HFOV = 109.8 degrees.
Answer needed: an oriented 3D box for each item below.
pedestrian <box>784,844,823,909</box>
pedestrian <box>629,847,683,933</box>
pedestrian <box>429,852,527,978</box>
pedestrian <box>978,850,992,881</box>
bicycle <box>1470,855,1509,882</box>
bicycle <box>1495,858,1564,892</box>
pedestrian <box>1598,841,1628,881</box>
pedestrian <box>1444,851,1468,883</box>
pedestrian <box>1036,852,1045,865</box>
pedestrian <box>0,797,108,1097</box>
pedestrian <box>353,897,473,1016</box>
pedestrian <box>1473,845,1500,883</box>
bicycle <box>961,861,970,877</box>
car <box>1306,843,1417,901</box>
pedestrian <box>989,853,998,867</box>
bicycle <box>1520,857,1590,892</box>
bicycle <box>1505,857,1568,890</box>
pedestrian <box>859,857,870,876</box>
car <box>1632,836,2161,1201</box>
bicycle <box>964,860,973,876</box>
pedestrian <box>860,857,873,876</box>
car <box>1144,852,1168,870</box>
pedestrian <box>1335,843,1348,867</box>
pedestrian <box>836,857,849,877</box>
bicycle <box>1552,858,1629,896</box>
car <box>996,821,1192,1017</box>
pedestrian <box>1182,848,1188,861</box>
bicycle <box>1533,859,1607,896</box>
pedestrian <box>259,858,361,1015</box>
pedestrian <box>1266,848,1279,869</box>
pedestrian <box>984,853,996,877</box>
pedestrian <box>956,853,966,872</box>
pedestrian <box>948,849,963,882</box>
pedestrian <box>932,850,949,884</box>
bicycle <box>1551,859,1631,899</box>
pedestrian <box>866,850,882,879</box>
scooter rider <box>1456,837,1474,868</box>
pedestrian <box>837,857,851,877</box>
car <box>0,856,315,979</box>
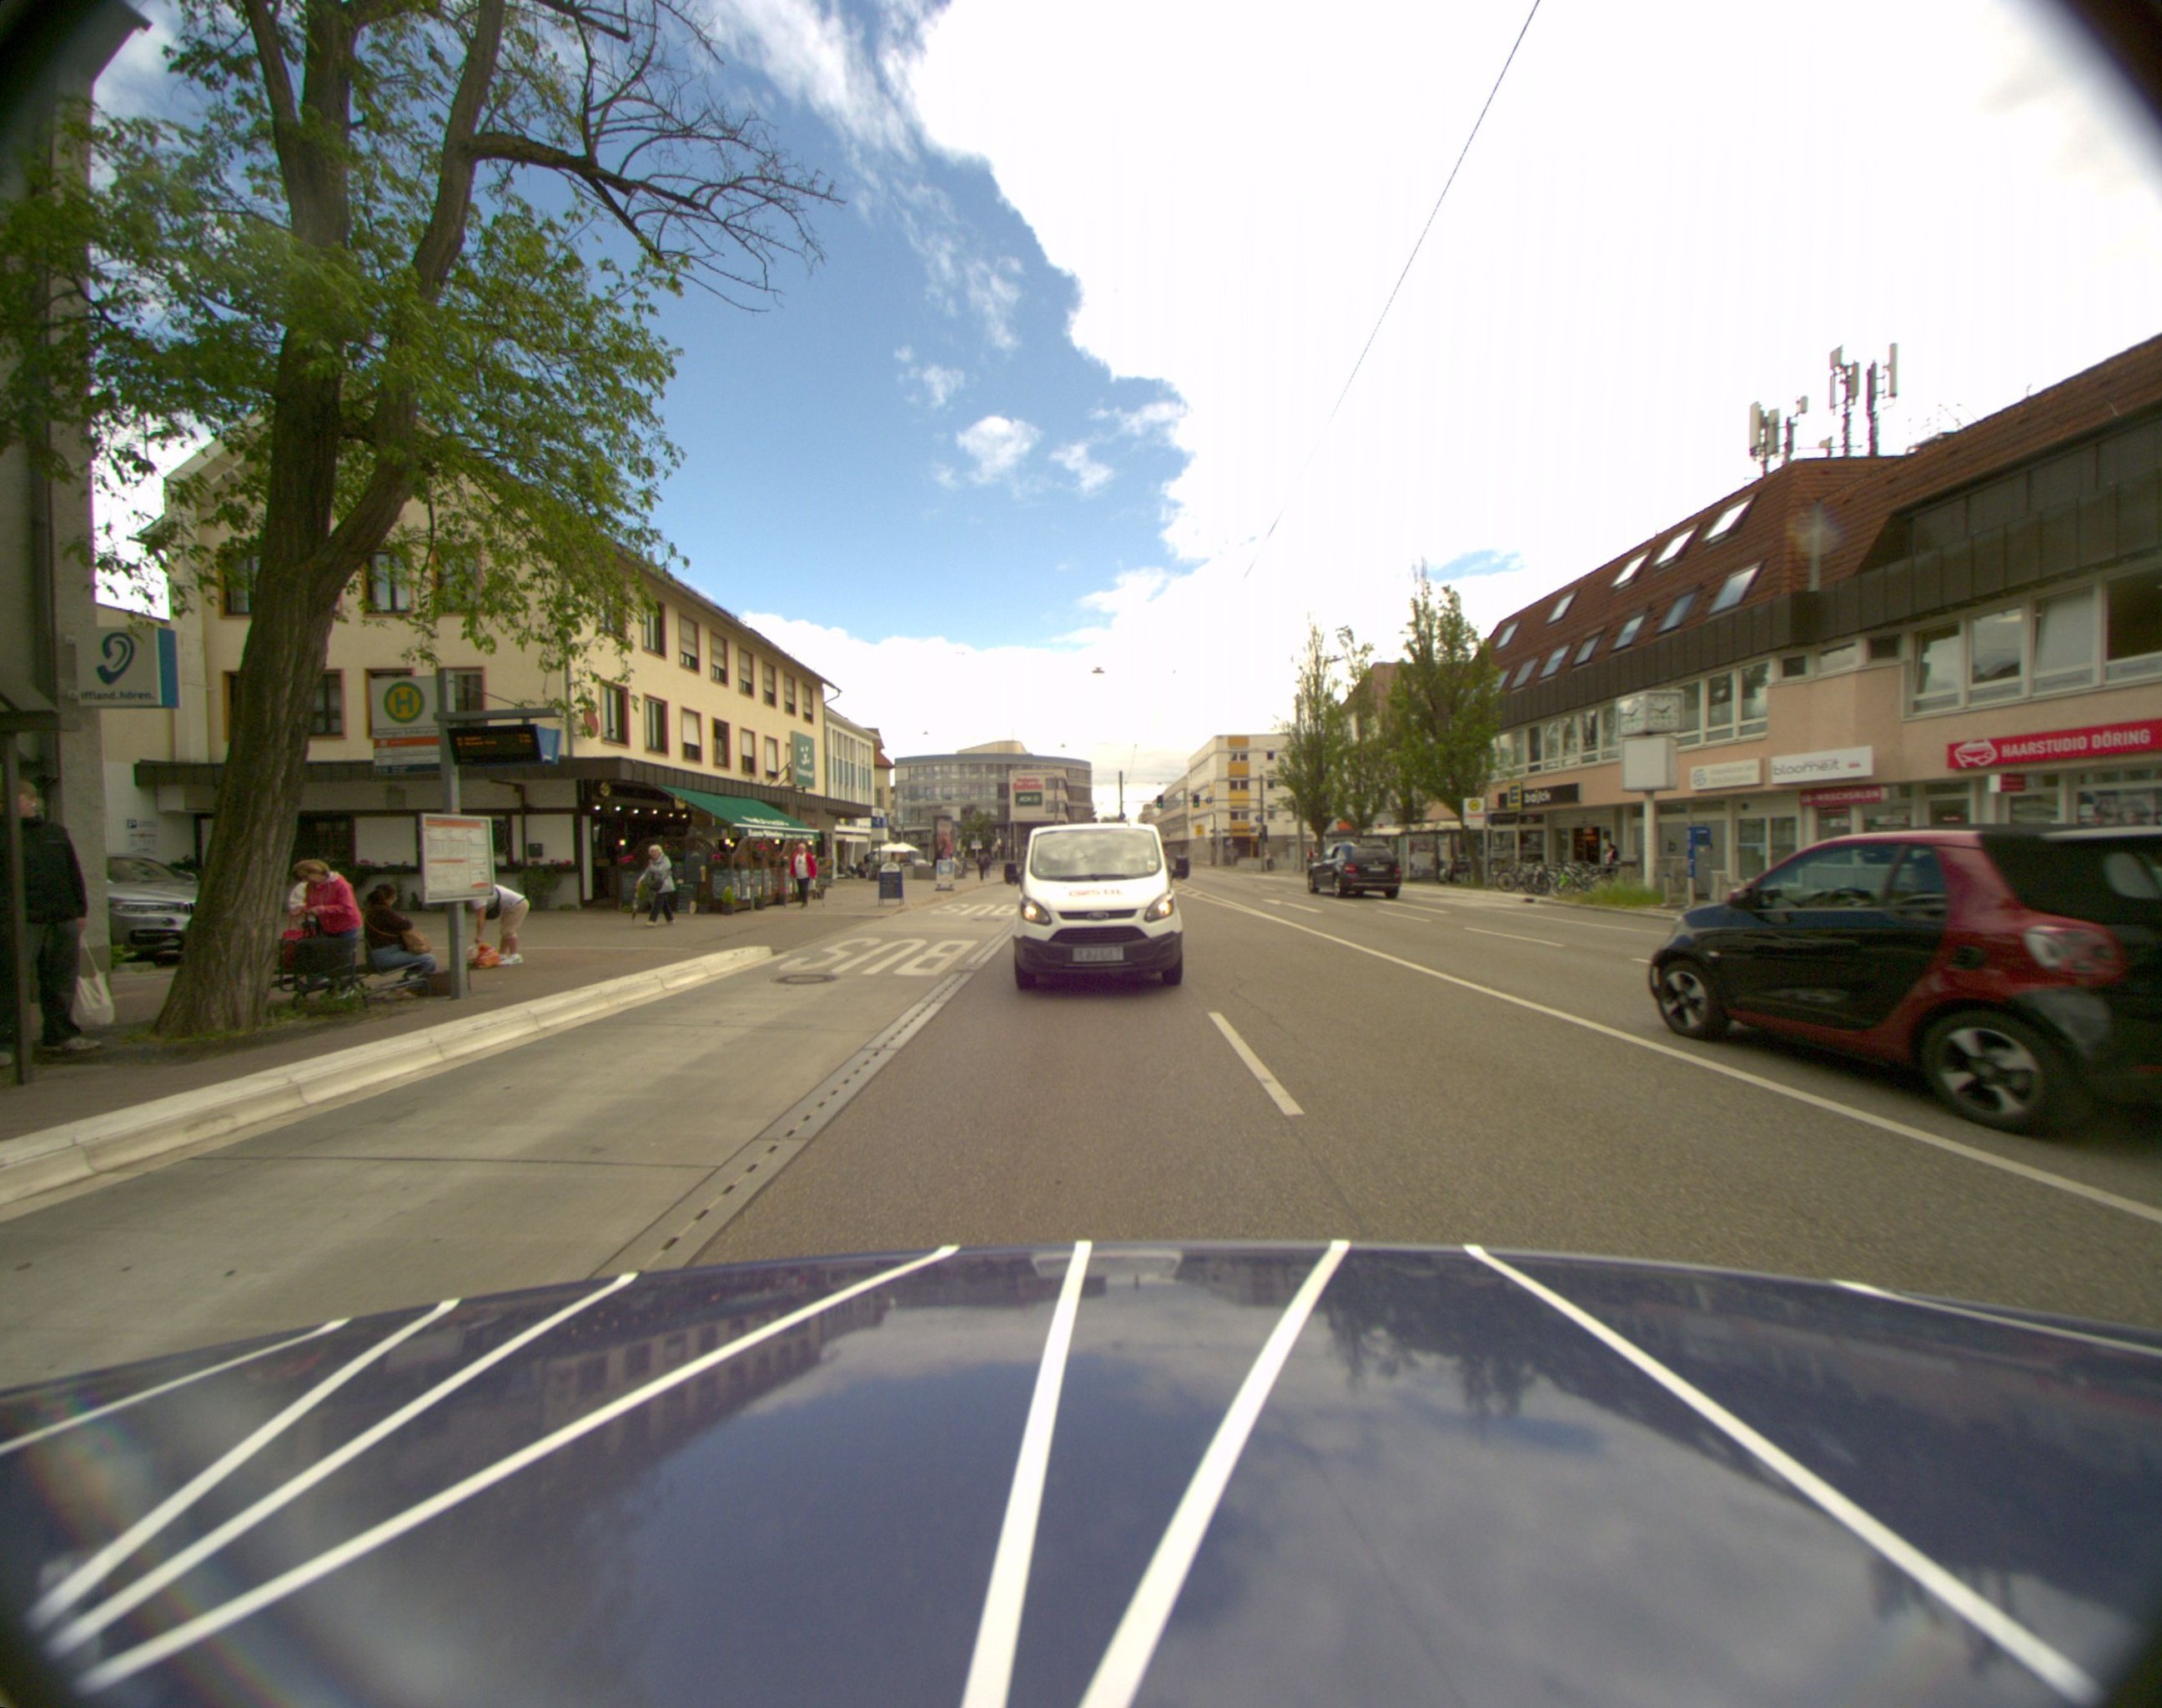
[{"bbox_3d":[-7.519,0.598,20.601,0.797,1.732,0.781,1,2,-5],"label":"pedestrian"},{"bbox_3d":[-8.779,0.729,15.724,0.684,1.732,0.781,1,2,-4],"label":"pedestrian"},{"bbox_3d":[-8.160,0.796,10.309,0.614,1.625,0.795,2,1,12],"label":"pedestrian"},{"bbox_3d":[-5.169,0.599,40.882,0.613,1.668,0.615,0,1,3],"label":"pedestrian"},{"bbox_3d":[17.149,0.603,31.957,0.535,1.084,1.930,-2,0,-1],"label":"bicycle"},{"bbox_3d":[15.335,0.709,26.011,2.023,1.084,0.649,-1,1,-4],"label":"bicycle"},{"bbox_3d":[20.812,0.269,29.737,0.713,1.538,0.588,-2,0,0],"label":"pedestrian"},{"bbox_3d":[16.337,0.563,33.137,0.713,1.356,0.588,-2,0,3],"label":"pedestrian"},{"bbox_3d":[-5.070,0.551,94.805,0.808,1.637,0.886,-2,1,-34],"label":"pedestrian"},{"bbox_3d":[-7.559,0.623,5.380,0.614,2.035,0.588,1,2,14],"label":"pedestrian"},{"bbox_3d":[-7.043,1.057,8.041,0.714,1.159,0.587,-2,0,-6],"label":"pedestrian"},{"bbox_3d":[19.347,0.493,36.270,0.727,1.754,0.755,-4,0,-1],"label":"pedestrian"},{"bbox_3d":[-7.258,0.915,47.751,0.274,0.968,1.387,-1,0,2],"label":"bicycle"},{"bbox_3d":[9.164,0.527,25.274,2.074,1.728,4.693,1,0,2],"label":"car"},{"bbox_3d":[-10.781,0.768,93.451,0.847,1.625,0.644,-4,0,-33],"label":"pedestrian"},{"bbox_3d":[15.563,0.666,24.953,2.024,1.084,0.648,-1,1,-9],"label":"bicycle"},{"bbox_3d":[16.144,0.671,26.929,2.025,1.084,0.648,-2,1,-13],"label":"bicycle"},{"bbox_3d":[-14.243,0.819,50.004,0.614,1.213,0.588,0,0,-2],"label":"pedestrian"},{"bbox_3d":[5.242,0.682,4.655,1.574,1.531,2.960,0,0,0],"label":"car"},{"bbox_3d":[-7.287,0.896,49.244,0.274,1.047,1.387,-1,0,2],"label":"bicycle"},{"bbox_3d":[-14.286,0.818,50.634,0.614,1.213,0.588,-4,0,-2],"label":"pedestrian"},{"bbox_3d":[6.780,0.584,68.727,1.879,1.497,4.343,0,1,2],"label":"car"},{"bbox_3d":[18.314,0.047,53.354,0.587,1.625,0.615,-4,0,-1],"label":"pedestrian"},{"bbox_3d":[-15.006,0.828,47.851,0.614,1.213,0.588,-2,0,-2],"label":"pedestrian"},{"bbox_3d":[15.449,0.683,23.052,2.024,1.084,0.648,-1,1,-9],"label":"bicycle"},{"bbox_3d":[0.302,0.684,10.476,1.998,2.002,5.000,-2,0,4],"label":"car"},{"bbox_3d":[14.674,0.038,107.030,0.587,1.792,0.526,-4,0,1],"label":"pedestrian"},{"bbox_3d":[15.277,0.714,23.750,2.024,1.084,0.648,-1,1,-9],"label":"bicycle"},{"bbox_3d":[-8.018,0.836,7.908,0.673,1.558,0.492,-3,-1,21],"label":"pedestrian"},{"bbox_3d":[14.976,0.340,59.512,0.702,1.625,0.614,-4,0,-10],"label":"pedestrian"},{"bbox_3d":[-6.241,0.750,52.038,0.689,1.625,0.853,-1,0,0],"label":"pedestrian"},{"bbox_3d":[-10.754,0.785,68.103,0.589,1.613,0.743,-4,0,-31],"label":"pedestrian"},{"bbox_3d":[-6.132,0.551,37.160,0.614,1.625,0.615,0,1,-2],"label":"pedestrian"},{"bbox_3d":[-6.860,0.617,37.188,0.720,1.625,0.615,0,1,-2],"label":"pedestrian"},{"bbox_3d":[14.878,0.718,22.170,2.024,1.084,0.648,-1,1,-9],"label":"bicycle"},{"bbox_3d":[-11.763,0.572,43.229,0.668,1.625,0.800,-1,0,-2],"label":"pedestrian"},{"bbox_3d":[21.865,-0.083,43.314,0.614,1.702,0.588,-4,0,-3],"label":"scooter rider"},{"bbox_3d":[-14.686,0.798,47.143,0.614,1.213,0.588,-4,0,-2],"label":"pedestrian"},{"bbox_3d":[-14.804,0.922,11.531,4.614,1.610,1.881,-2,1,5],"label":"car"}]
